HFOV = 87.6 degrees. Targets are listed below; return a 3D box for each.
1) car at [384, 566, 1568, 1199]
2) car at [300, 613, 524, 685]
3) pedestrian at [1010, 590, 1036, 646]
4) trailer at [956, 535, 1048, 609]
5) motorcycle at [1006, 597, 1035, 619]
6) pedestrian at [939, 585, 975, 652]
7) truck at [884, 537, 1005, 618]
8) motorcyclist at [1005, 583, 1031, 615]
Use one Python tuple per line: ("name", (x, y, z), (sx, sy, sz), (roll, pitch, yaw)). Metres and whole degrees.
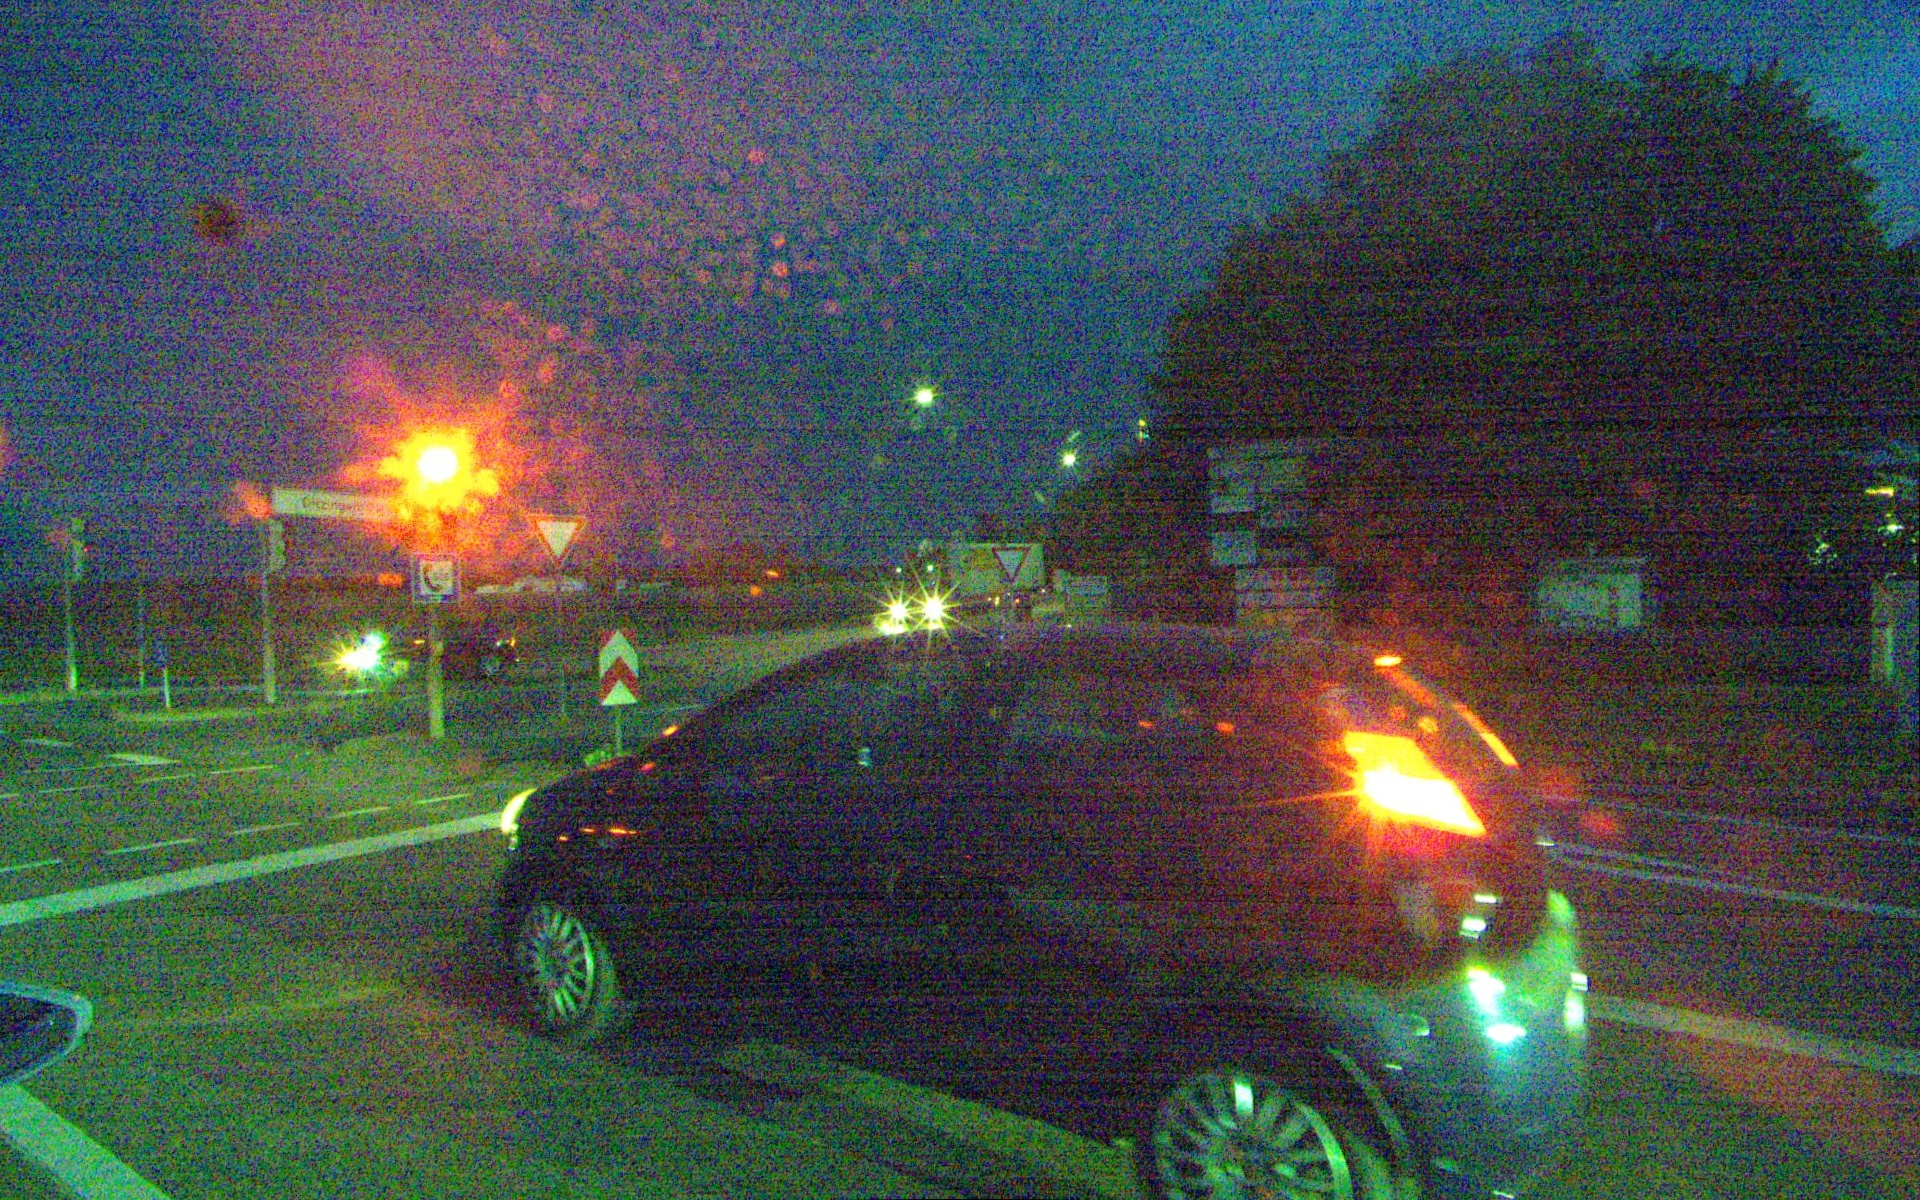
("car", (-0.200, 0.751, 3.621), (4.049, 1.540, 1.666), (-1, -1, 34))
("car", (-13.711, 1.154, 25.327), (1.972, 1.541, 4.589), (0, 1, 33))
("pedestrian", (2.220, 0.620, 34.993), (0.860, 1.925, 0.660), (-1, 1, 6))
("trailer", (2.869, -1.837, 64.009), (2.875, 4.361, 9.043), (-1, 2, 22))
("motorcycle", (3.126, 0.389, 51.198), (0.964, 1.113, 2.505), (0, 0, 15))
("pedestrian", (-0.078, 0.520, 28.657), (0.861, 1.859, 0.731), (-3, 1, 6))
("truck", (-0.597, -1.196, 55.261), (2.875, 4.033, 10.042), (0, 1, 23))
("motorcyclist", (2.978, -0.065, 51.362), (1.120, 1.605, 0.971), (0, 1, 16))
